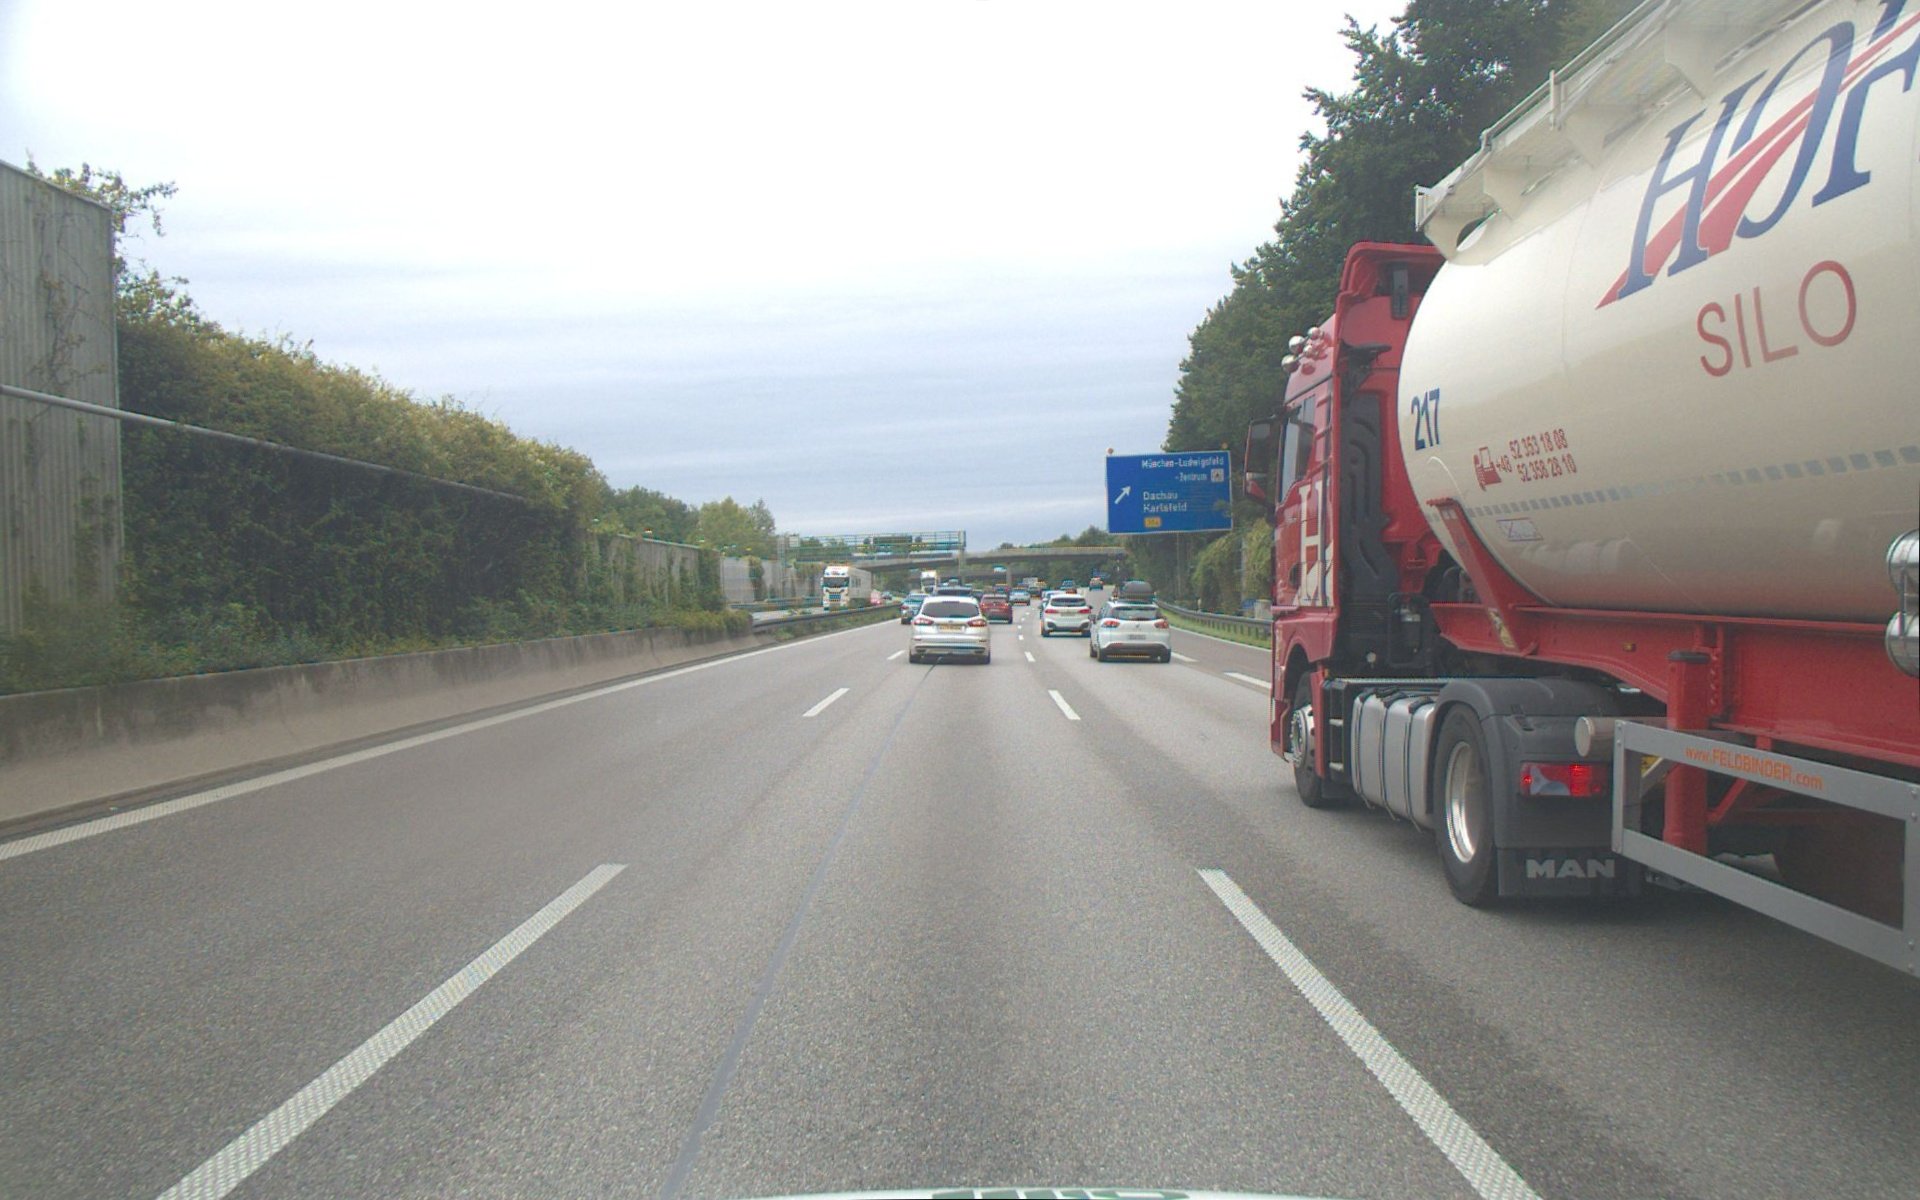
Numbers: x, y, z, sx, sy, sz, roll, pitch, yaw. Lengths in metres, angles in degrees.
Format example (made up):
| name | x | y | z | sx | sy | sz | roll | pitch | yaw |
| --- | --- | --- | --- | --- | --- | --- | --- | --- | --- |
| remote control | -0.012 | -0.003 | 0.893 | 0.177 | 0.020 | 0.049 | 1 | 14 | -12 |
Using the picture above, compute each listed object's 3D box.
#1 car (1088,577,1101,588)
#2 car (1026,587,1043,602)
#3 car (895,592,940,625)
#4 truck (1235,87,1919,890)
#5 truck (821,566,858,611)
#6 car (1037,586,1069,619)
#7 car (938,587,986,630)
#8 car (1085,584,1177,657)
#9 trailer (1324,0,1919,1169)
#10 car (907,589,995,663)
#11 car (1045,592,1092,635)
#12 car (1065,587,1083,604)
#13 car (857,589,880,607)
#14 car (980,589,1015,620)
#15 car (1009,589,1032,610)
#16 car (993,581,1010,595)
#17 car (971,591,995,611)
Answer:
| name | x | y | z | sx | sy | sz | roll | pitch | yaw |
| --- | --- | --- | --- | --- | --- | --- | --- | --- | --- |
| car | 17.995 | -2.391 | 221.634 | 1.653 | 1.447 | 3.873 | 0 | 0 | 4 |
| car | 8.155 | -0.604 | 181.101 | 1.653 | 1.566 | 3.874 | 0 | 0 | 6 |
| car | -2.048 | 0.429 | 81.271 | 1.684 | 1.495 | 5.032 | -1 | -2 | 4 |
| truck | 3.796 | -0.552 | 11.497 | 2.640 | 3.981 | 6.555 | 0 | 0 | 0 |
| truck | -11.469 | -1.099 | 158.002 | 2.612 | 4.200 | 5.919 | -1 | 0 | 4 |
| car | 5.393 | 0.144 | 95.983 | 1.653 | 1.811 | 3.874 | -2 | -1 | 6 |
| car | 0.105 | 0.319 | 65.971 | 1.654 | 1.532 | 3.873 | 4 | 1 | 2 |
| car | 4.060 | 0.471 | 39.952 | 1.778 | 1.654 | 5.030 | 0 | 0 | 1 |
| trailer | 3.797 | -0.528 | 4.310 | 2.614 | 4.007 | 13.128 | 0 | 0 | -1 |
| car | -0.170 | 0.558 | 37.898 | 1.853 | 1.530 | 5.030 | 2 | 0 | 1 |
| car | 4.027 | 0.501 | 60.998 | 1.653 | 1.533 | 3.873 | 0 | 0 | 5 |
| car | 10.871 | -0.443 | 157.513 | 1.653 | 1.566 | 3.874 | 0 | 0 | 6 |
| car | -8.410 | -0.150 | 152.634 | 1.735 | 1.597 | 4.718 | 0 | 0 | 1 |
| car | 1.912 | 0.229 | 84.021 | 1.653 | 1.533 | 3.873 | 0 | 0 | 3 |
| car | 5.379 | -0.057 | 147.105 | 1.752 | 1.811 | 3.874 | -1 | 0 | 6 |
| car | 4.605 | -1.341 | 182.787 | 1.653 | 1.447 | 3.873 | 0 | 0 | 4 |
| car | 1.989 | 0.085 | 142.352 | 1.653 | 1.668 | 3.874 | -1 | 0 | 6 |
